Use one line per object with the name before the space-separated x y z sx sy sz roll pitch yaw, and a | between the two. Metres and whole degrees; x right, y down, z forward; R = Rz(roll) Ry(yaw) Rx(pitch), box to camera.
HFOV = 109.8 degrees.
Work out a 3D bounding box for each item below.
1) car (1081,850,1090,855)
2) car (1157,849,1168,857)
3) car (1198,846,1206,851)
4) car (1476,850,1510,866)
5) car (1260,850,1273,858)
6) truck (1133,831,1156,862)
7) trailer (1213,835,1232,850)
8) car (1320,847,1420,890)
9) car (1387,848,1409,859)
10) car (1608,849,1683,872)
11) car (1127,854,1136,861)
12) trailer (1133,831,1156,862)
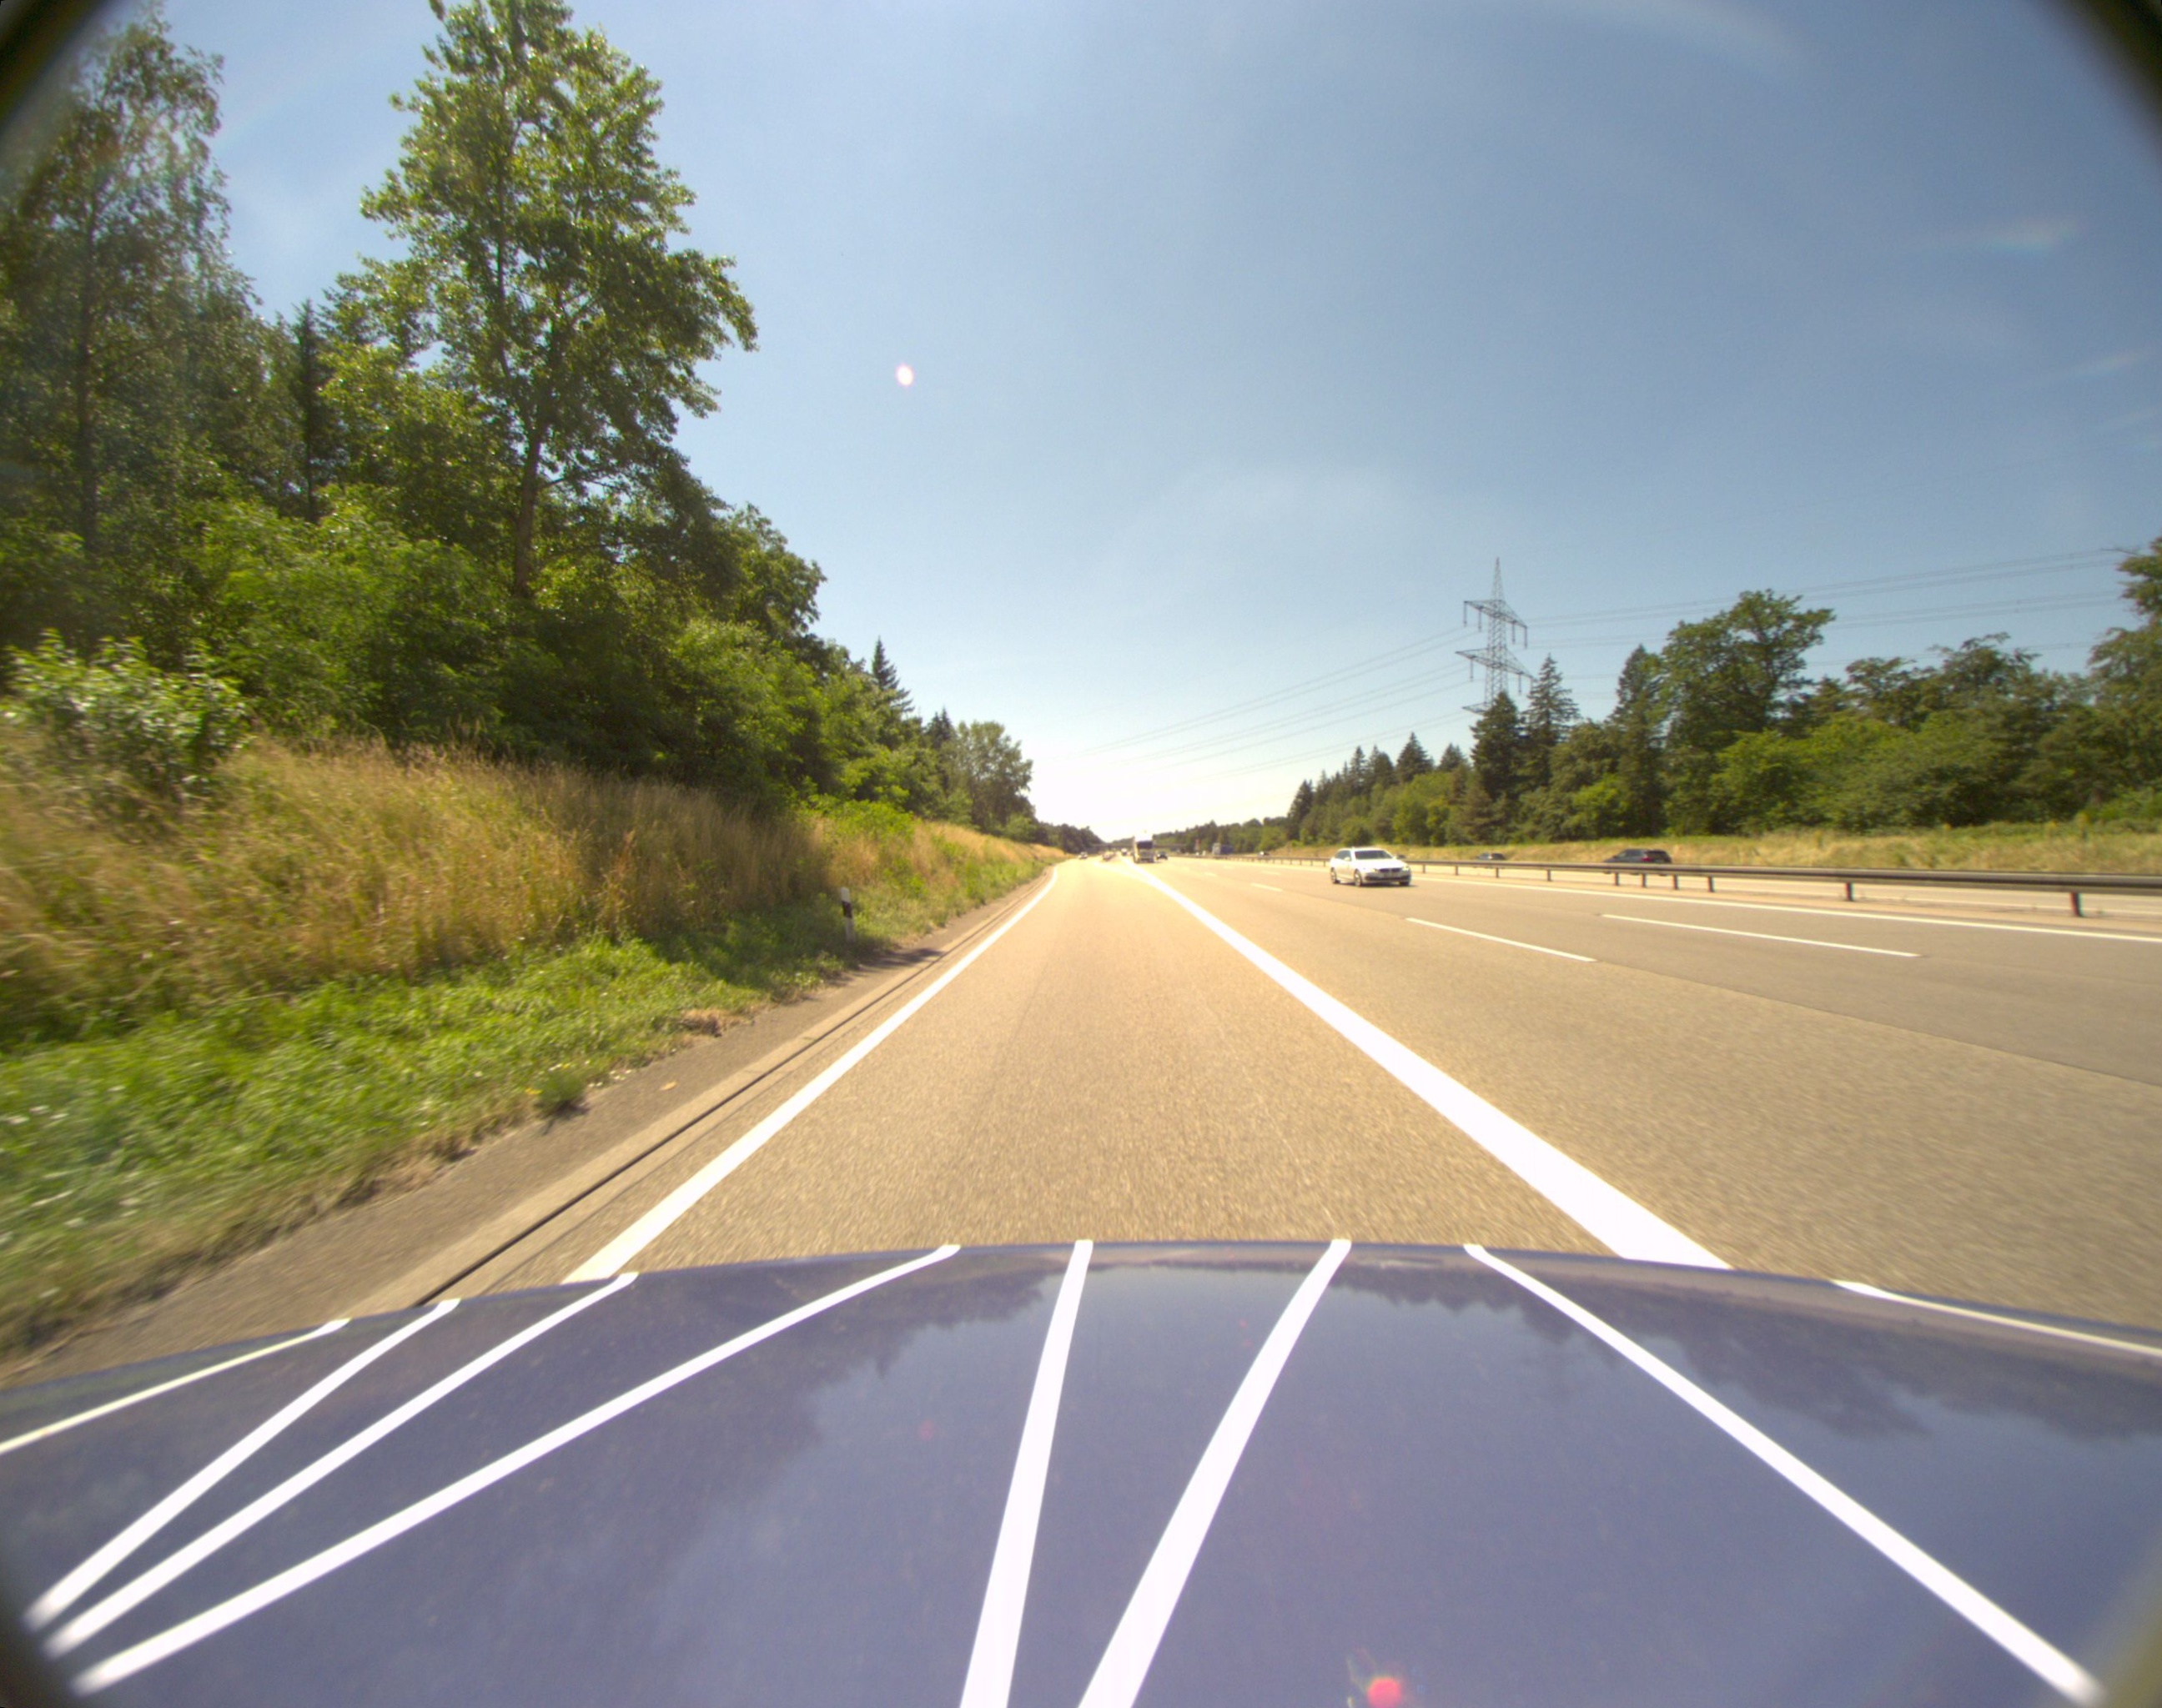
car | 1.254 -0.416 211.077 1.898 1.417 4.263 -2 0 5
car | 15.255 -0.168 142.102 1.898 1.417 4.263 -2 0 5
car | 37.104 -1.780 233.625 1.765 1.394 4.434 0 0 1
car | 40.292 0.372 74.391 1.562 1.518 4.001 -2 1 6
car | 32.519 -0.045 133.086 1.566 1.348 3.567 -1 0 3
truck | 8.670 -1.036 103.965 2.979 4.118 5.351 -1 0 5
trailer | 40.407 -3.147 216.965 3.210 4.148 13.984 0 0 2
car | 11.152 0.489 29.798 1.968 1.495 5.404 -2 1 1
car | 42.679 -0.069 102.281 1.625 1.469 3.567 -1 0 3
car | 36.461 0.383 49.239 1.793 1.412 4.437 -2 0 4
car | 10.844 0.774 162.895 1.898 1.417 4.263 -2 0 5
trailer | 9.155 -1.034 109.457 2.981 4.118 11.700 -1 0 5
